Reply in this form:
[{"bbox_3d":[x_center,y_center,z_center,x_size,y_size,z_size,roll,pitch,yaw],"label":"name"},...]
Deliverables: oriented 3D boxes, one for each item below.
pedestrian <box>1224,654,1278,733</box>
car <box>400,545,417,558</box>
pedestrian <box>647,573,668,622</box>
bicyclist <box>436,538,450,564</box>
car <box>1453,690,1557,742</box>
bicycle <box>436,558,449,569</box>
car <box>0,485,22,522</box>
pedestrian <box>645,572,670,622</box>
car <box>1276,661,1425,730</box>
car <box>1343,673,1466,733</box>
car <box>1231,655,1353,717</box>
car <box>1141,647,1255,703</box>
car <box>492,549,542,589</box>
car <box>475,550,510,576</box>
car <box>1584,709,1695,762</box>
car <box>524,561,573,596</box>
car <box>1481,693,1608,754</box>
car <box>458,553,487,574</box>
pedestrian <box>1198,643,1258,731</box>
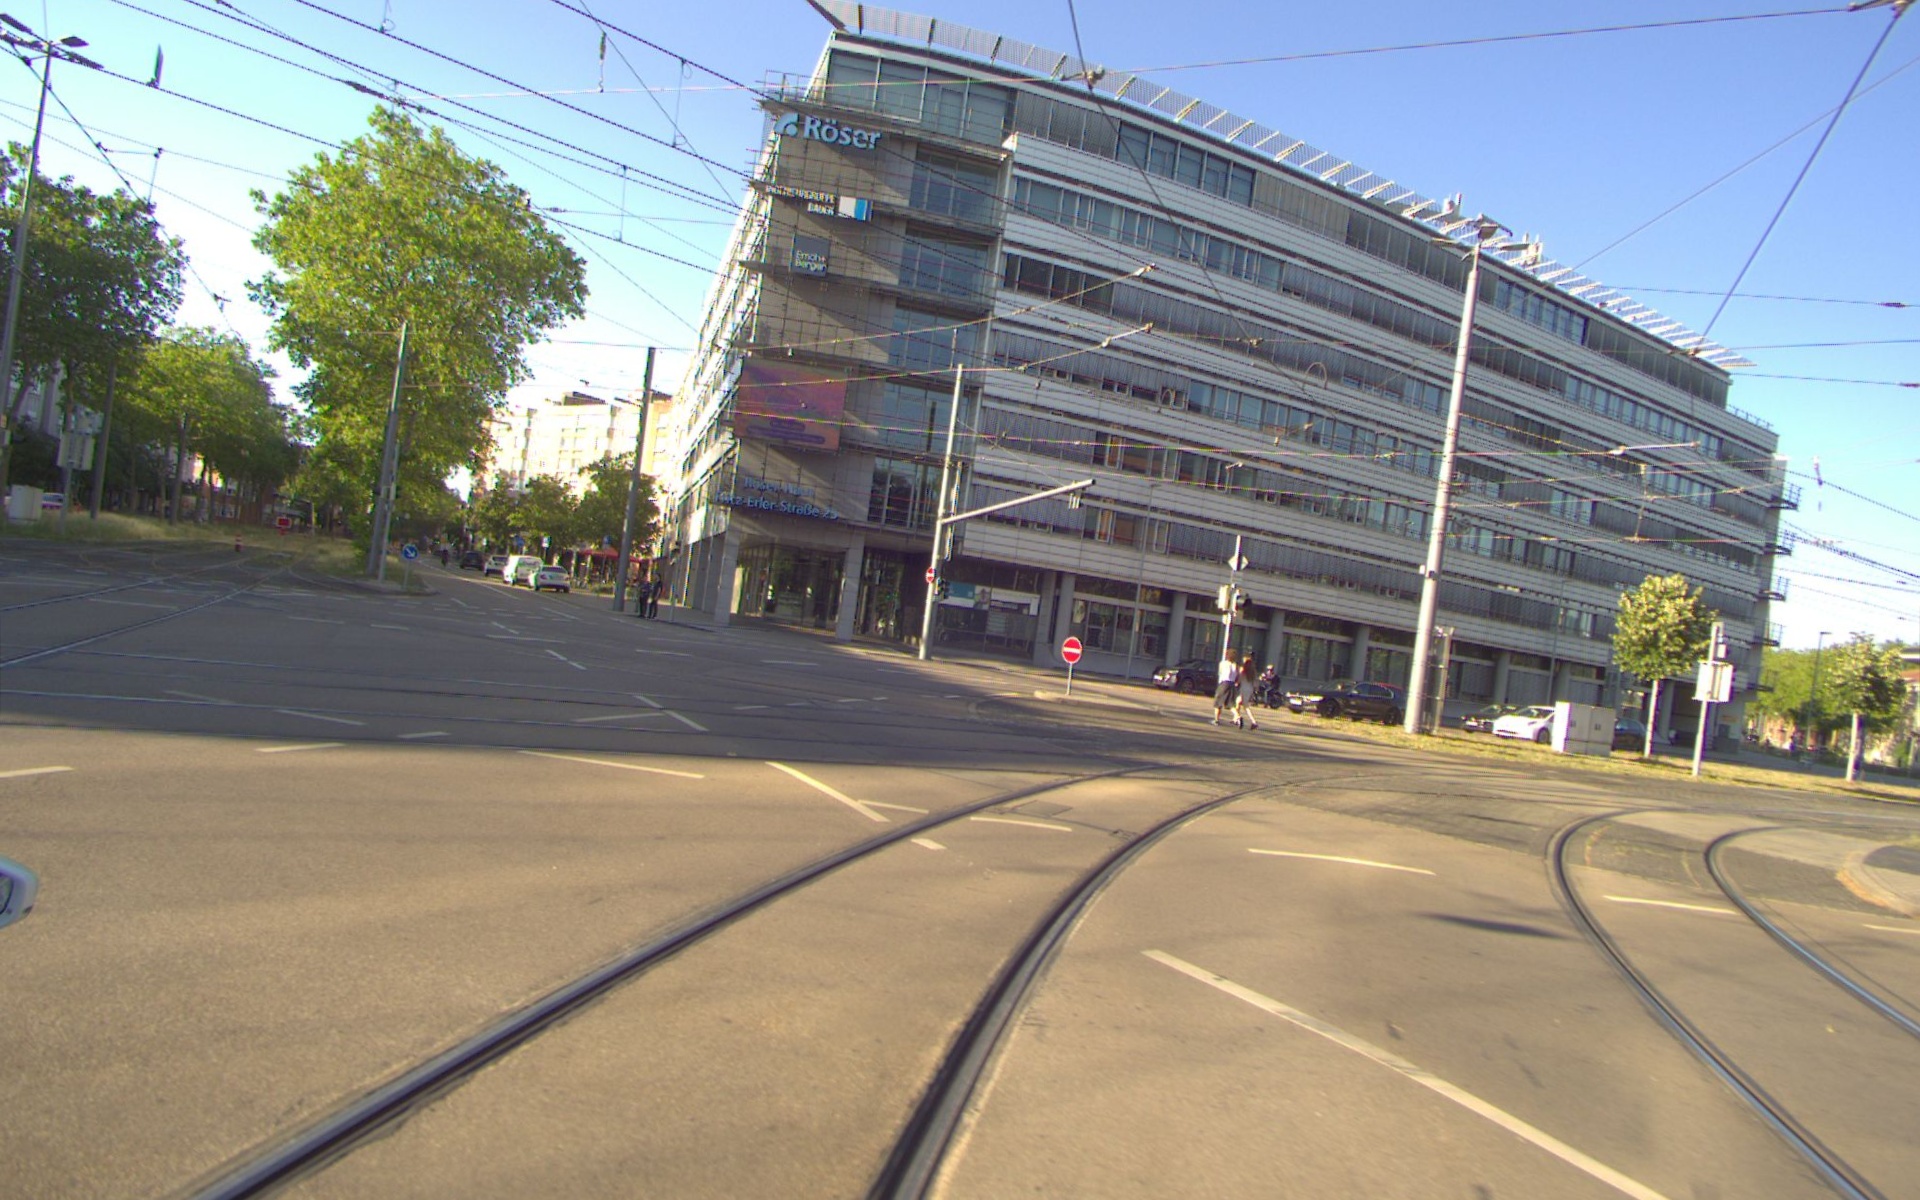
[{"bbox_3d":[6.822,2.180,23.598,0.639,1.709,0.841,7,1,-22],"label":"pedestrian"},{"bbox_3d":[-76.894,-6.770,140.383,1.839,1.571,4.294,8,0,-28],"label":"car"},{"bbox_3d":[-11.946,-0.095,39.738,0.539,1.846,0.372,8,1,43],"label":"pedestrian"},{"bbox_3d":[-43.250,-4.102,84.228,0.745,2.037,0.739,8,0,-23],"label":"bicyclist"},{"bbox_3d":[22.837,4.867,42.144,3.948,1.615,1.620,8,-1,-23],"label":"car"},{"bbox_3d":[-43.327,-3.086,84.223,0.810,0.783,1.720,8,0,-23],"label":"bicycle"},{"bbox_3d":[-43.462,-4.416,44.542,1.840,1.571,4.290,8,0,-31],"label":"car"},{"bbox_3d":[-11.935,-0.120,39.716,0.581,1.846,0.541,8,1,43],"label":"pedestrian"},{"bbox_3d":[13.407,3.270,34.543,4.462,1.640,1.896,9,-1,-19],"label":"car"},{"bbox_3d":[17.509,4.054,39.624,4.114,1.640,1.896,9,-1,-19],"label":"car"},{"bbox_3d":[12.410,3.199,37.607,3.813,1.640,1.896,9,-1,-19],"label":"car"},{"bbox_3d":[9.870,3.111,41.767,4.114,1.640,1.896,9,-1,-19],"label":"car"},{"bbox_3d":[-27.068,-1.927,61.451,1.980,2.038,4.347,8,0,-32],"label":"car"},{"bbox_3d":[-34.672,-2.734,74.542,1.840,1.571,4.291,8,0,-30],"label":"car"},{"bbox_3d":[30.303,6.023,44.886,4.114,1.640,1.896,9,-1,-19],"label":"car"},{"bbox_3d":[-22.904,-1.216,55.925,1.840,1.571,4.291,8,0,-30],"label":"car"},{"bbox_3d":[22.542,4.746,38.829,4.114,1.640,1.896,9,-1,-19],"label":"car"},{"bbox_3d":[-45.152,-3.397,93.143,2.244,1.571,4.295,8,0,-27],"label":"car"},{"bbox_3d":[6.213,2.000,23.342,0.689,1.865,0.961,7,1,-22],"label":"pedestrian"}]
